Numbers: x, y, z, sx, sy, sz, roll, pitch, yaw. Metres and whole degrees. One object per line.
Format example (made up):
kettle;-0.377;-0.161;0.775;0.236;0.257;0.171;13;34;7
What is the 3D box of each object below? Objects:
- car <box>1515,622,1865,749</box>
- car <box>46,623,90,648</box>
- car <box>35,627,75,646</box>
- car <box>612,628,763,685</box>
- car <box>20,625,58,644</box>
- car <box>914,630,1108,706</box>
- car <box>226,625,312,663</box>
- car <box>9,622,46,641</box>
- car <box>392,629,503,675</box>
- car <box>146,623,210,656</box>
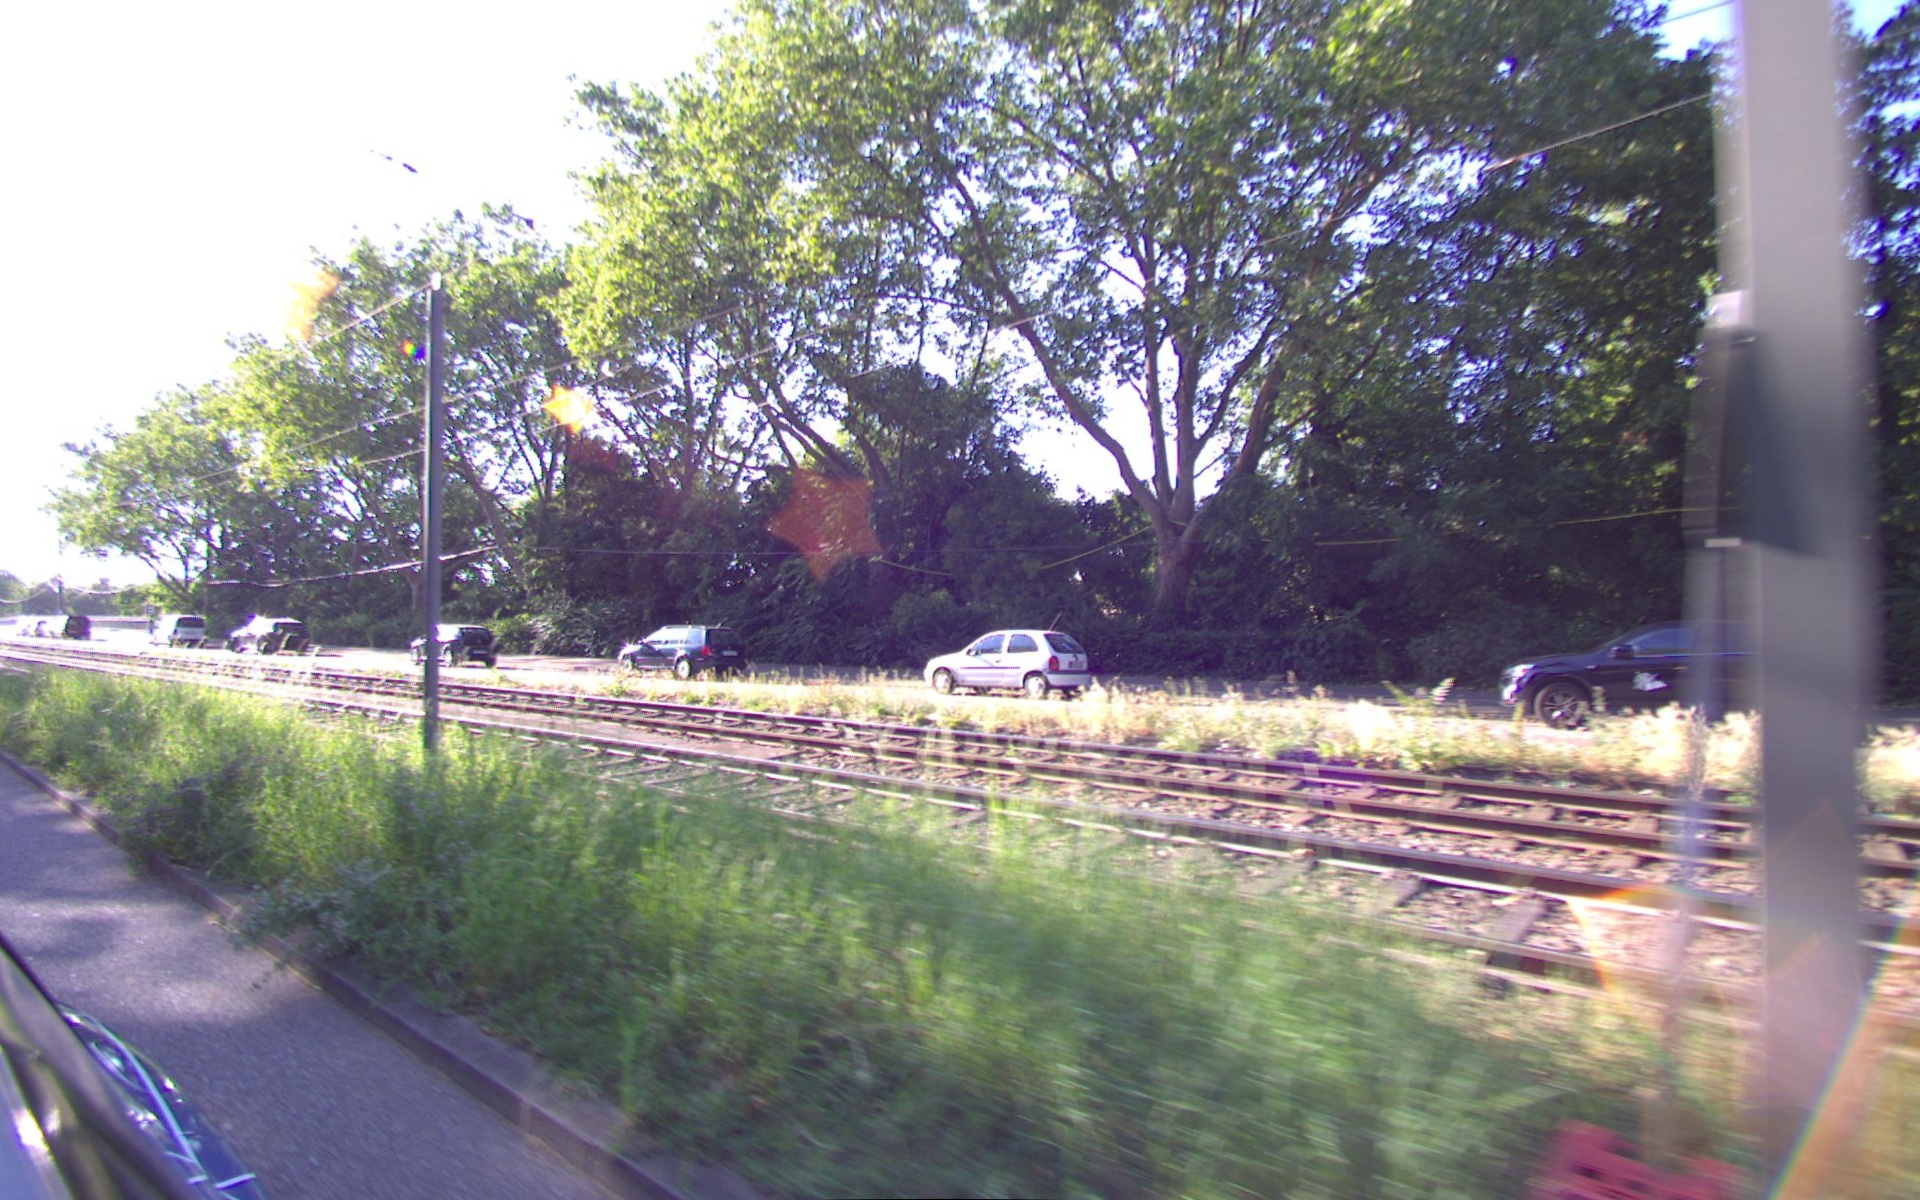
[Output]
car;10.292;1.126;14.539;3.876;1.567;1.722;-1;-3;37
car;-67.062;2.662;76.031;3.894;1.753;1.714;-1;-3;37
car;-71.223;2.856;79.631;3.779;1.453;1.638;-1;-3;37
car;-7.655;1.536;28.242;4.317;1.448;1.810;-1;-3;37
car;-75.549;2.831;83.000;3.780;1.453;1.638;-1;-3;38
car;1.050;1.391;21.657;3.846;1.448;1.722;-1;-3;37
car;-32.898;2.065;48.137;4.382;1.732;1.812;-1;-3;33
car;-79.692;2.673;86.463;3.919;1.511;1.638;-1;-3;37
car;-18.426;1.829;36.346;4.388;1.517;1.810;-1;-3;37
car;-45.143;2.257;58.406;4.388;1.854;1.810;-1;-3;37
